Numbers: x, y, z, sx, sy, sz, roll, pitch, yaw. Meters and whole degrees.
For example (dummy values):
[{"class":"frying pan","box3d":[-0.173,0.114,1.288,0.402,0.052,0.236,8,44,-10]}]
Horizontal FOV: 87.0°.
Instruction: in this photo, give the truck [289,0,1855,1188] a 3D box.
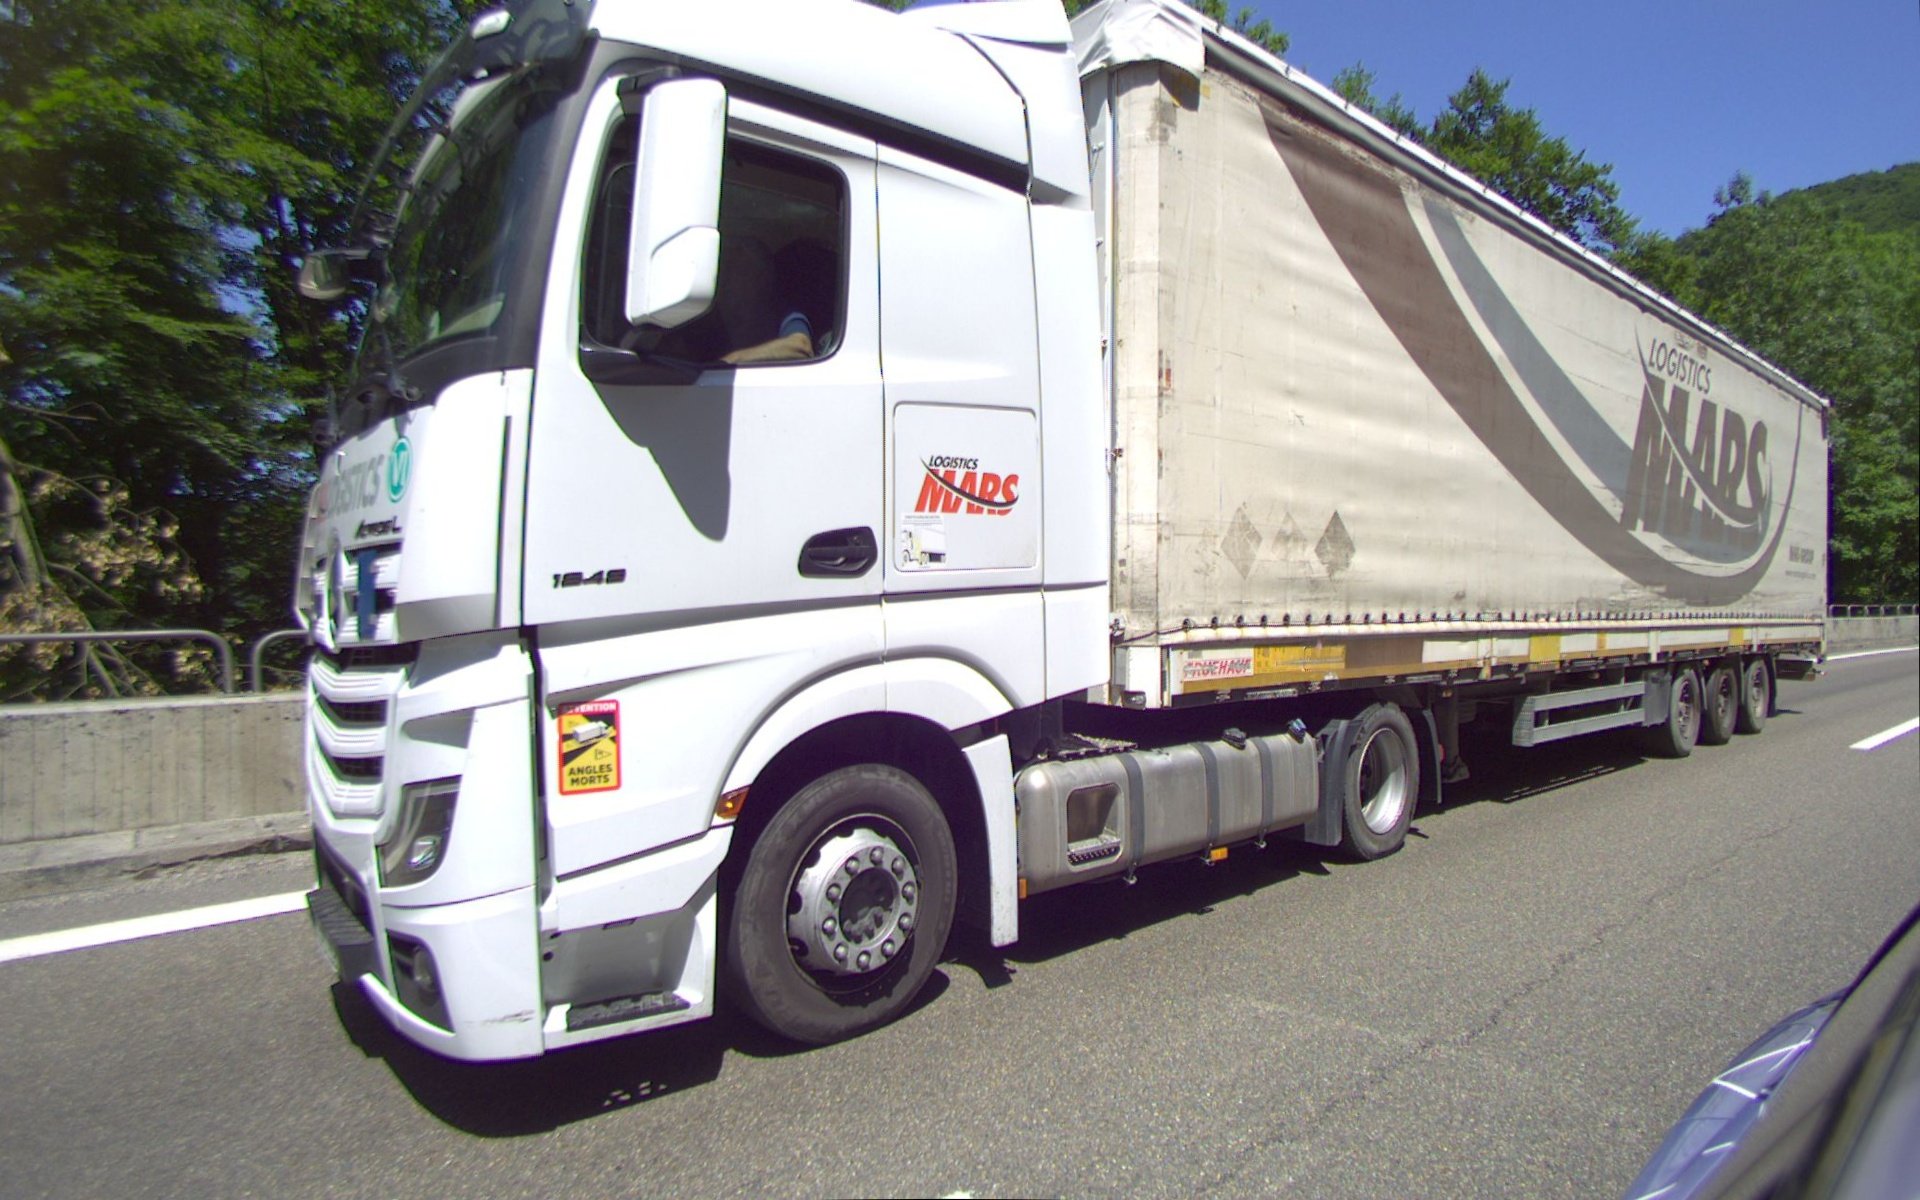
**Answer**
[{"class":"truck","box3d":[4.147,-0.785,8.763,16.410,4.185,2.967,0,0,-40]}]
